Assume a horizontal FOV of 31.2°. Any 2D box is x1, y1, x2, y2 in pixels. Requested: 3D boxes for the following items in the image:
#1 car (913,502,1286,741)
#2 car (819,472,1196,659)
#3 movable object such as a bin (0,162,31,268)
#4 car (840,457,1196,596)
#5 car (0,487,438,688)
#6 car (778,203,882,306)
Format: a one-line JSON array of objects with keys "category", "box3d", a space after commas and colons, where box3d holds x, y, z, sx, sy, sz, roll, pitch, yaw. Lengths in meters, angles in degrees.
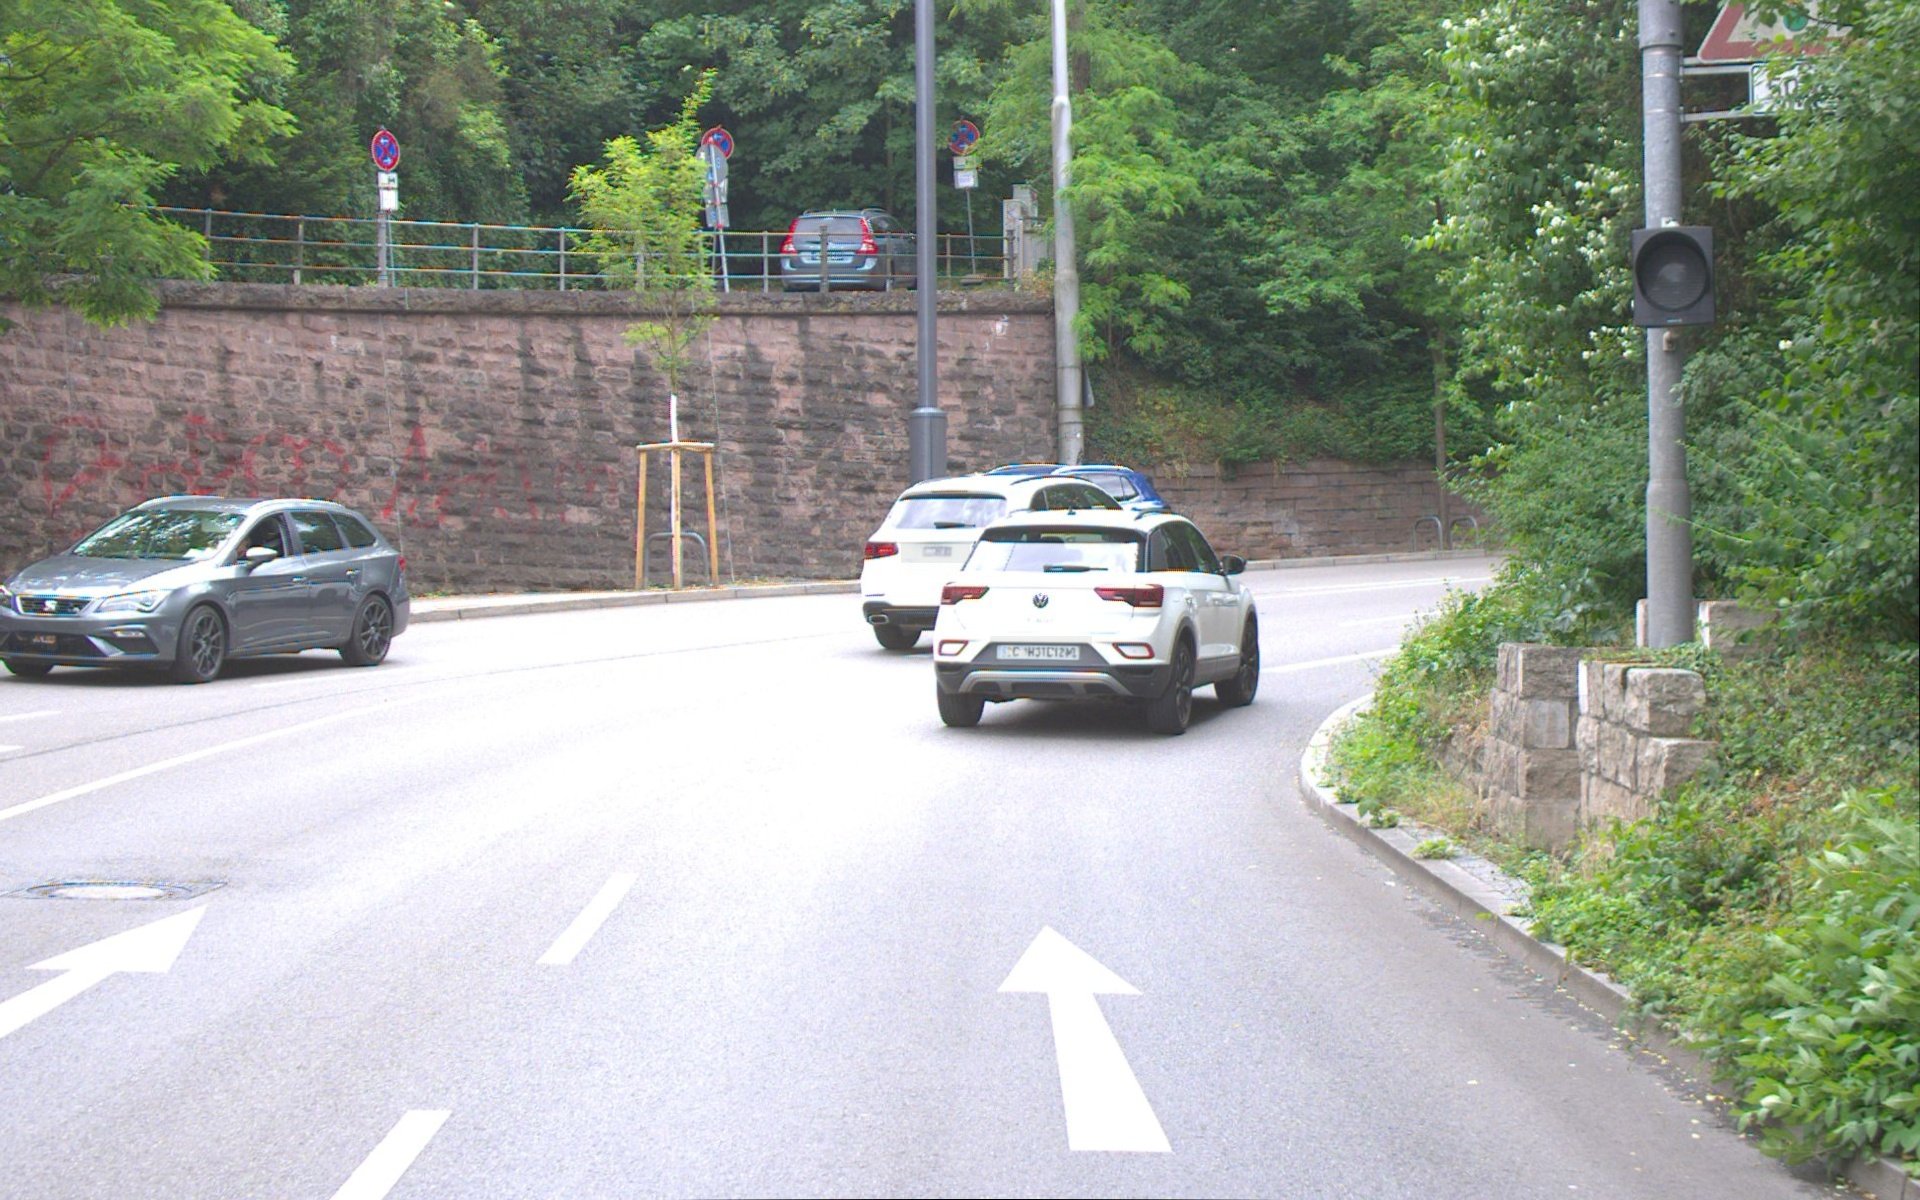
[{"category": "car", "box3d": [1.144, 0.080, 25.837, 1.756, 1.547, 4.334, 2, 3, 16]}, {"category": "car", "box3d": [0.557, -0.407, 33.602, 1.861, 1.600, 4.665, 3, 4, 25]}, {"category": "movable object such as a bin", "box3d": [-13.466, -5.131, 45.814, 1.251, 1.351, 1.602, -1, 2, 37]}, {"category": "car", "box3d": [0.745, -0.943, 42.339, 4.189, 1.522, 1.732, -3, 5, -36]}, {"category": "car", "box3d": [-6.220, -0.175, 28.510, 1.785, 1.461, 4.398, 2, 3, 21]}, {"category": "car", "box3d": [-2.164, -5.795, 57.982, 1.677, 1.375, 3.736, 1, 1, -1]}]
